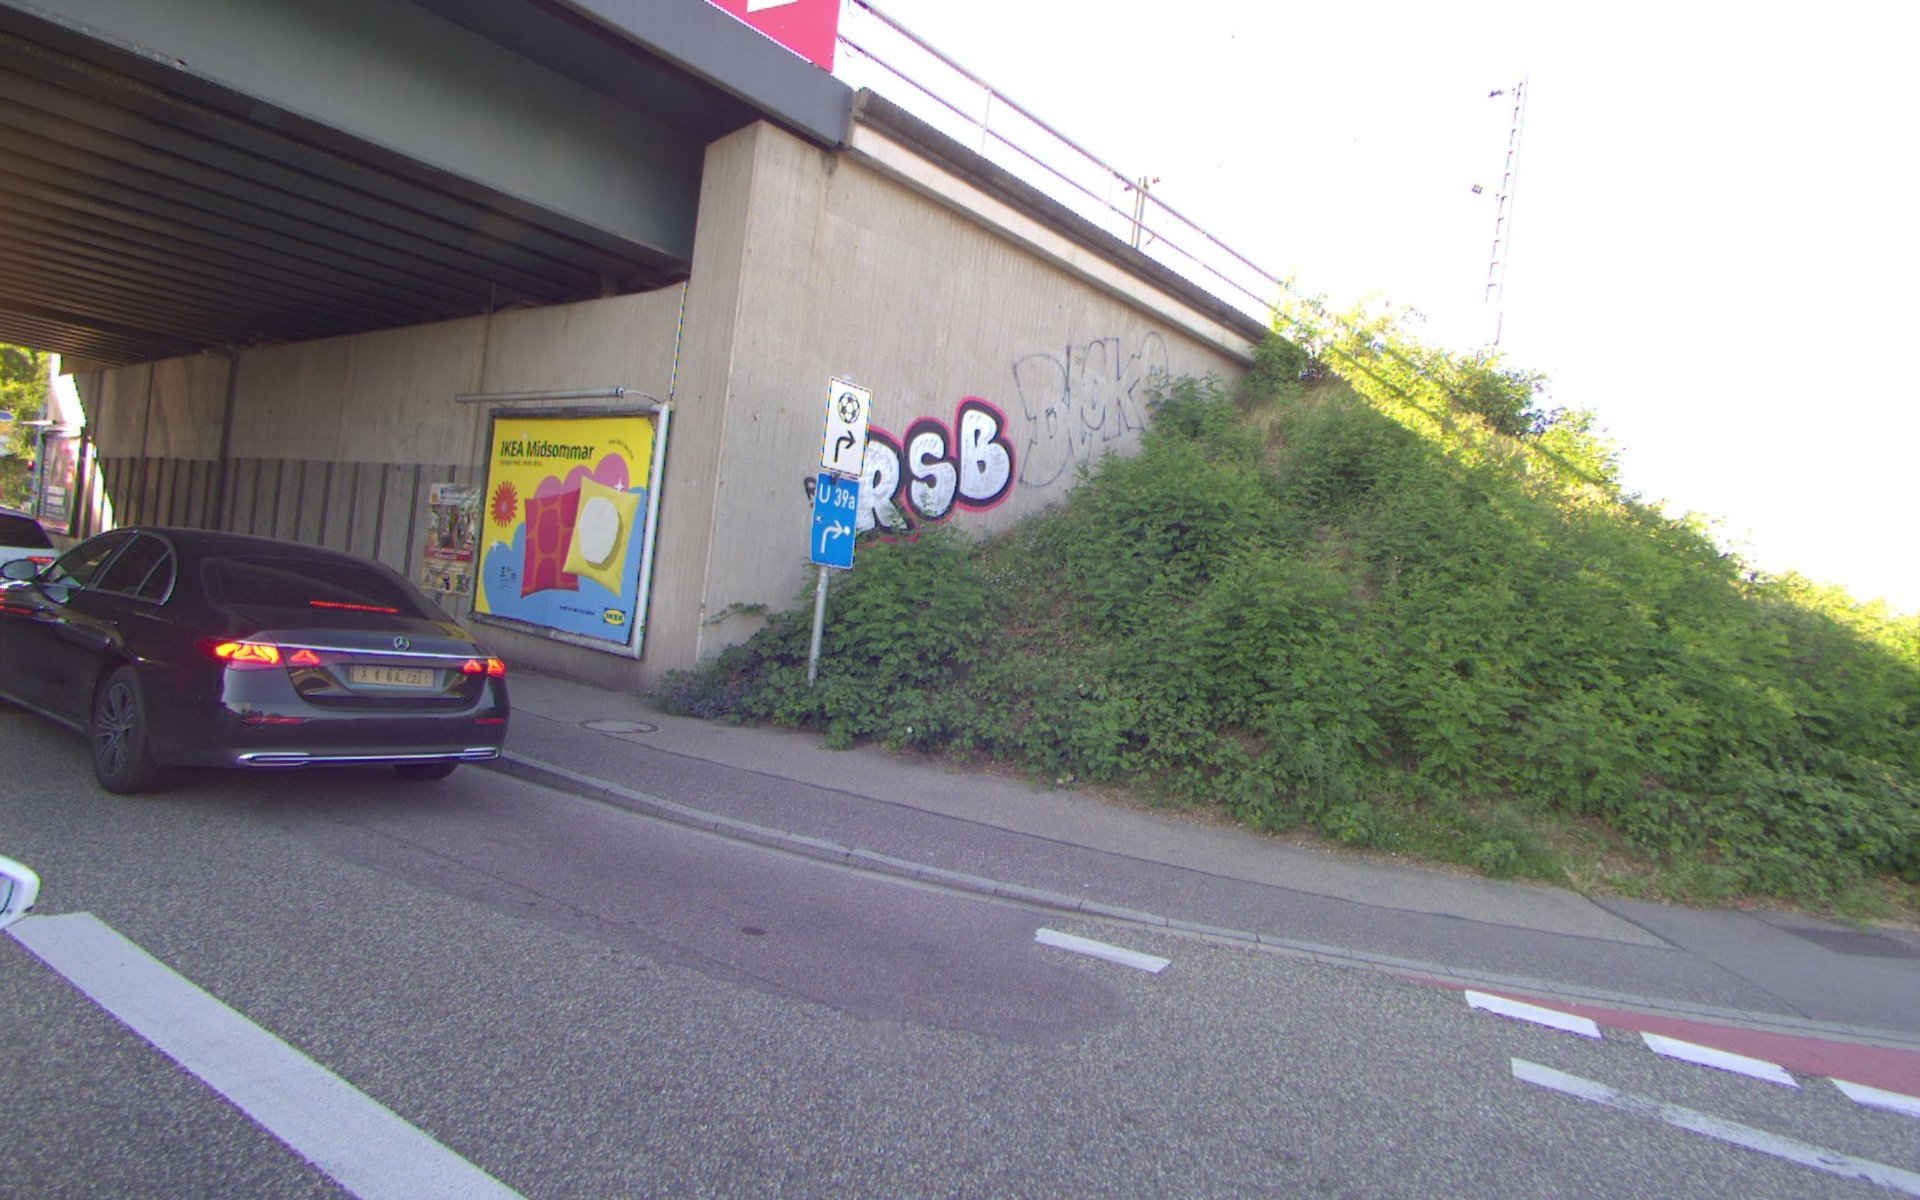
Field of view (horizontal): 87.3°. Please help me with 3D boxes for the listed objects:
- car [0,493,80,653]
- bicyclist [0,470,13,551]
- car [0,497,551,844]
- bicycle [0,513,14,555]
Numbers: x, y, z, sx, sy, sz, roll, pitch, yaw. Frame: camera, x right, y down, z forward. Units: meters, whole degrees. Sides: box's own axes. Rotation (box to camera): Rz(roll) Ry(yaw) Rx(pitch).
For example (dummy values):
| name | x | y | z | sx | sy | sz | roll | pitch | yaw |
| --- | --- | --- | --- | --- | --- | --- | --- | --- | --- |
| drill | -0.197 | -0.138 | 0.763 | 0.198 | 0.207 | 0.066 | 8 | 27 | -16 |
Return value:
| name | x | y | z | sx | sy | sz | roll | pitch | yaw |
| --- | --- | --- | --- | --- | --- | --- | --- | --- | --- |
| car | -10.889 | -0.422 | 10.401 | 3.772 | 1.514 | 1.772 | 5 | 0 | 35 |
| bicyclist | -23.785 | -2.229 | 24.587 | 0.821 | 1.930 | 0.681 | 6 | 0 | 38 |
| car | -4.982 | 0.263 | 6.743 | 4.530 | 1.472 | 1.743 | 7 | -1 | 33 |
| bicycle | -23.923 | -1.682 | 24.681 | 2.844 | 0.975 | 0.578 | 5 | -1 | 38 |
